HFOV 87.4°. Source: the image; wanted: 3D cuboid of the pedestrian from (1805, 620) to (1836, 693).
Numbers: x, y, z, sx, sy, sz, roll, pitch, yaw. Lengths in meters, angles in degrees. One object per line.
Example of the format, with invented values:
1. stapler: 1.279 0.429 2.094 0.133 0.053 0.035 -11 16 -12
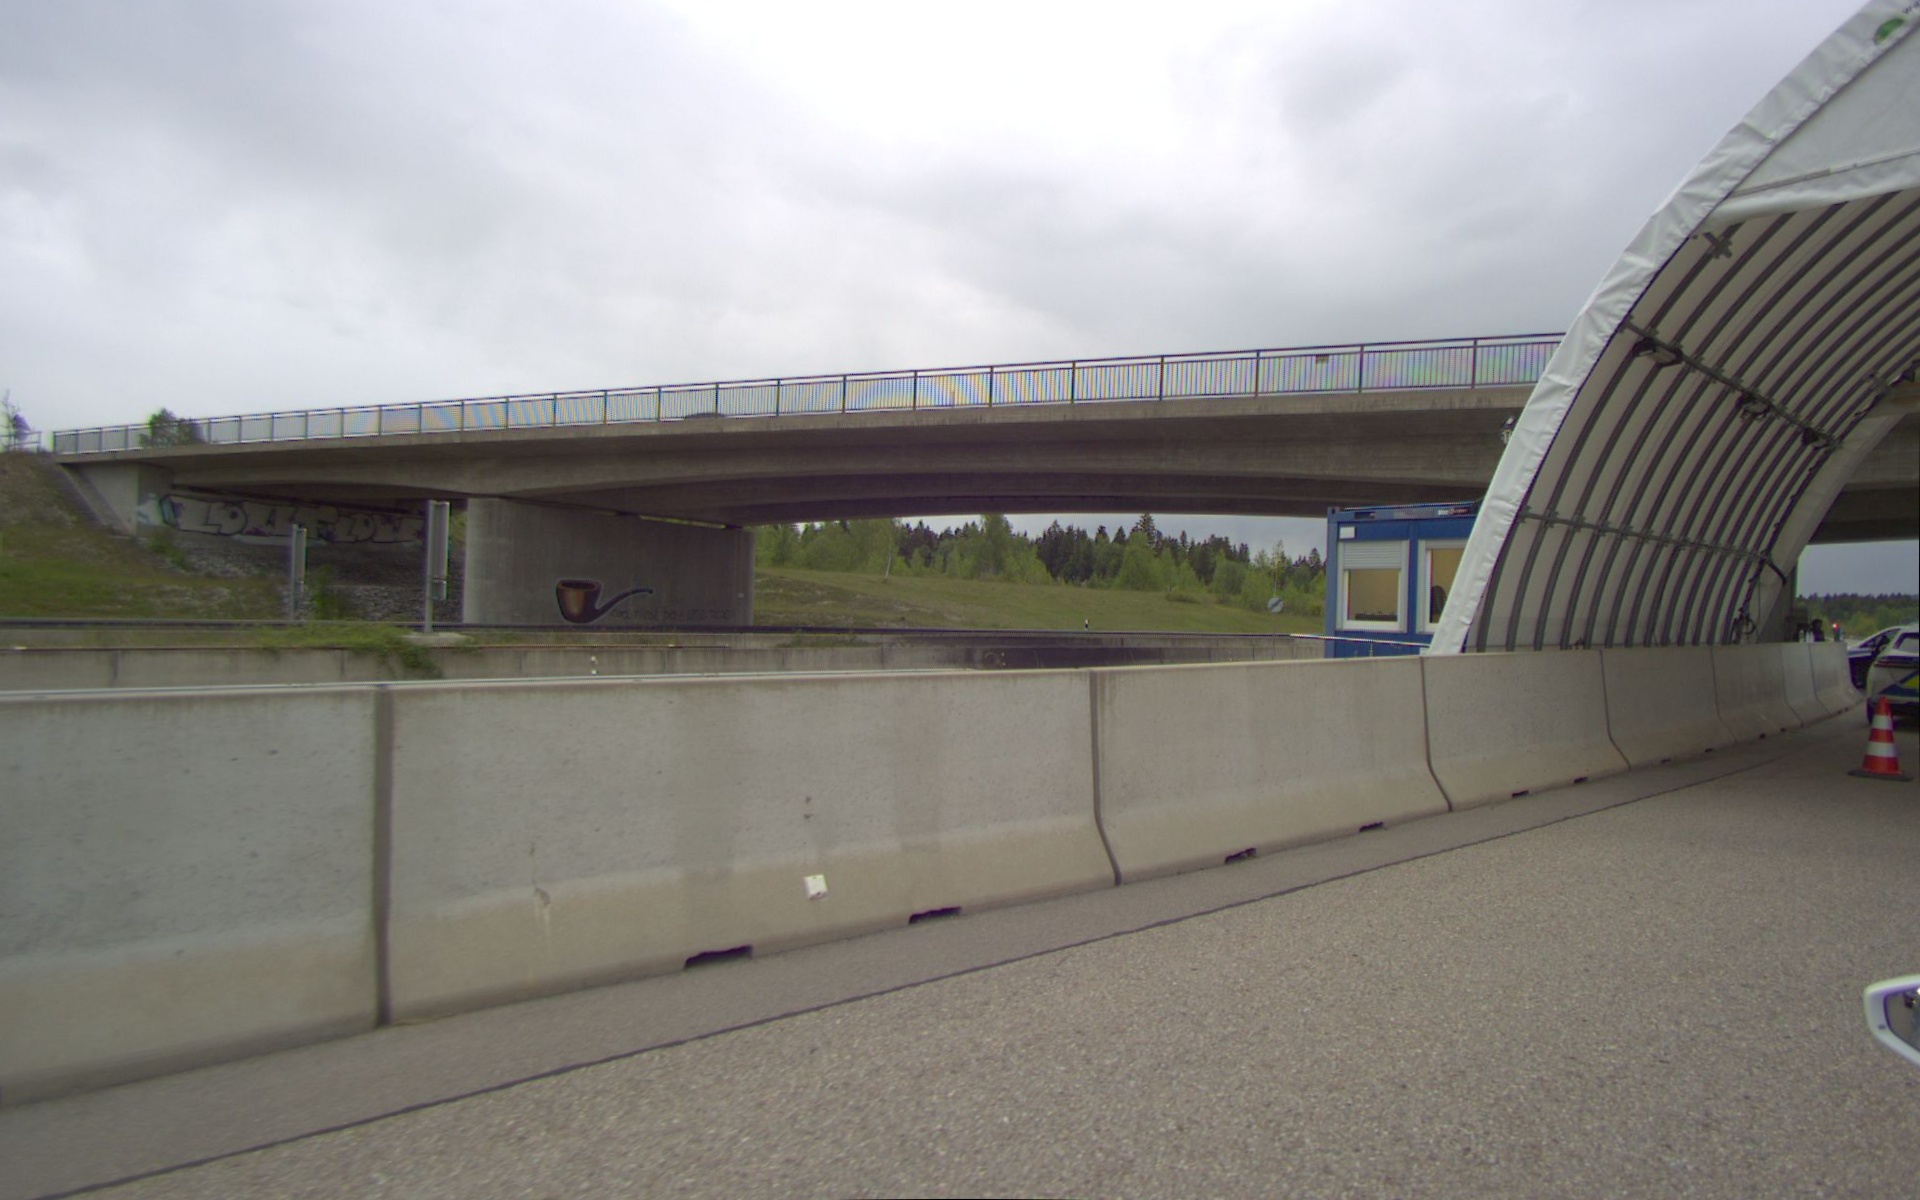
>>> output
1. pedestrian: 24.377 1.584 28.448 0.651 2.040 0.618 2 -1 -43

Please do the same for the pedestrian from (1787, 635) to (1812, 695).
1. pedestrian: 22.549 1.740 26.988 0.497 1.567 0.460 0 -1 43

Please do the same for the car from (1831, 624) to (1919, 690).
1. car: 30.930 1.824 31.804 1.813 2.040 4.800 1 -1 -19

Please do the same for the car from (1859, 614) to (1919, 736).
1. car: 14.751 1.077 14.797 3.970 1.668 1.861 2 -2 -42
